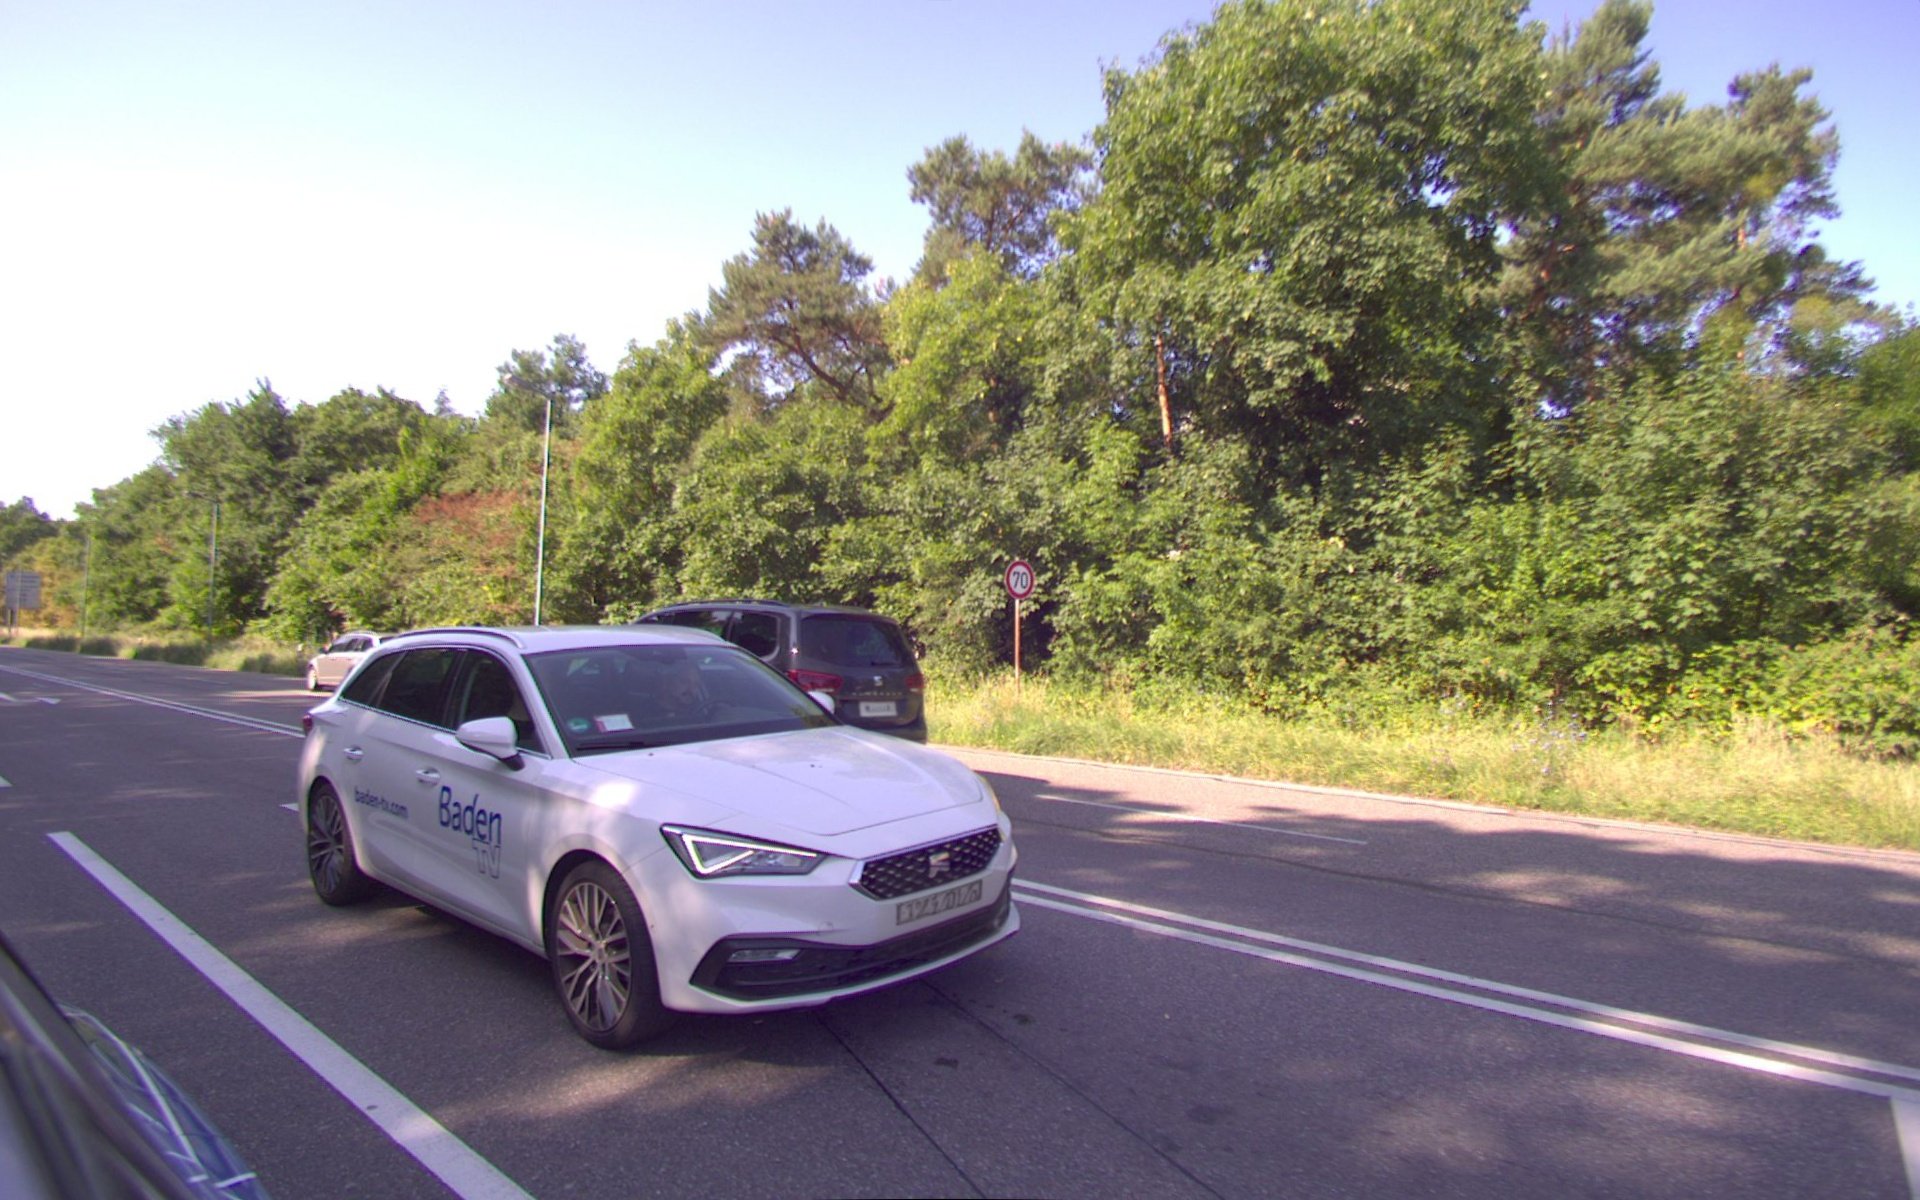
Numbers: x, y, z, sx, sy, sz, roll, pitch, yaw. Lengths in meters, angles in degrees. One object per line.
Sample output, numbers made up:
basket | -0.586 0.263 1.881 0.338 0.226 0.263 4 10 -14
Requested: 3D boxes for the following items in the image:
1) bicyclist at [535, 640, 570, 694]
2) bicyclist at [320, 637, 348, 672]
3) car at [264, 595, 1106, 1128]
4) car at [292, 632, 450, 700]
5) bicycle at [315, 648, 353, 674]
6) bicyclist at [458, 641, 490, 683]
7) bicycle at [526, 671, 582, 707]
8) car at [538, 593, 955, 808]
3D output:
bicyclist | -11.589 1.884 28.776 0.944 1.477 0.604 -1 -1 43
bicyclist | -24.582 2.131 39.738 0.974 1.353 0.668 -1 -1 38
car | -1.658 0.765 4.872 4.420 1.435 1.765 -2 -2 41
car | -13.819 1.502 23.649 4.456 1.444 1.686 -2 -4 39
bicycle | -24.599 2.389 39.749 1.911 0.963 0.668 -1 -1 38
bicyclist | -15.382 1.940 32.048 0.727 1.273 0.693 -1 -1 42
bicycle | -11.529 2.502 28.713 2.138 0.921 0.597 -2 -3 43
car | -2.296 0.868 10.169 4.389 1.710 1.772 -1 -4 41
